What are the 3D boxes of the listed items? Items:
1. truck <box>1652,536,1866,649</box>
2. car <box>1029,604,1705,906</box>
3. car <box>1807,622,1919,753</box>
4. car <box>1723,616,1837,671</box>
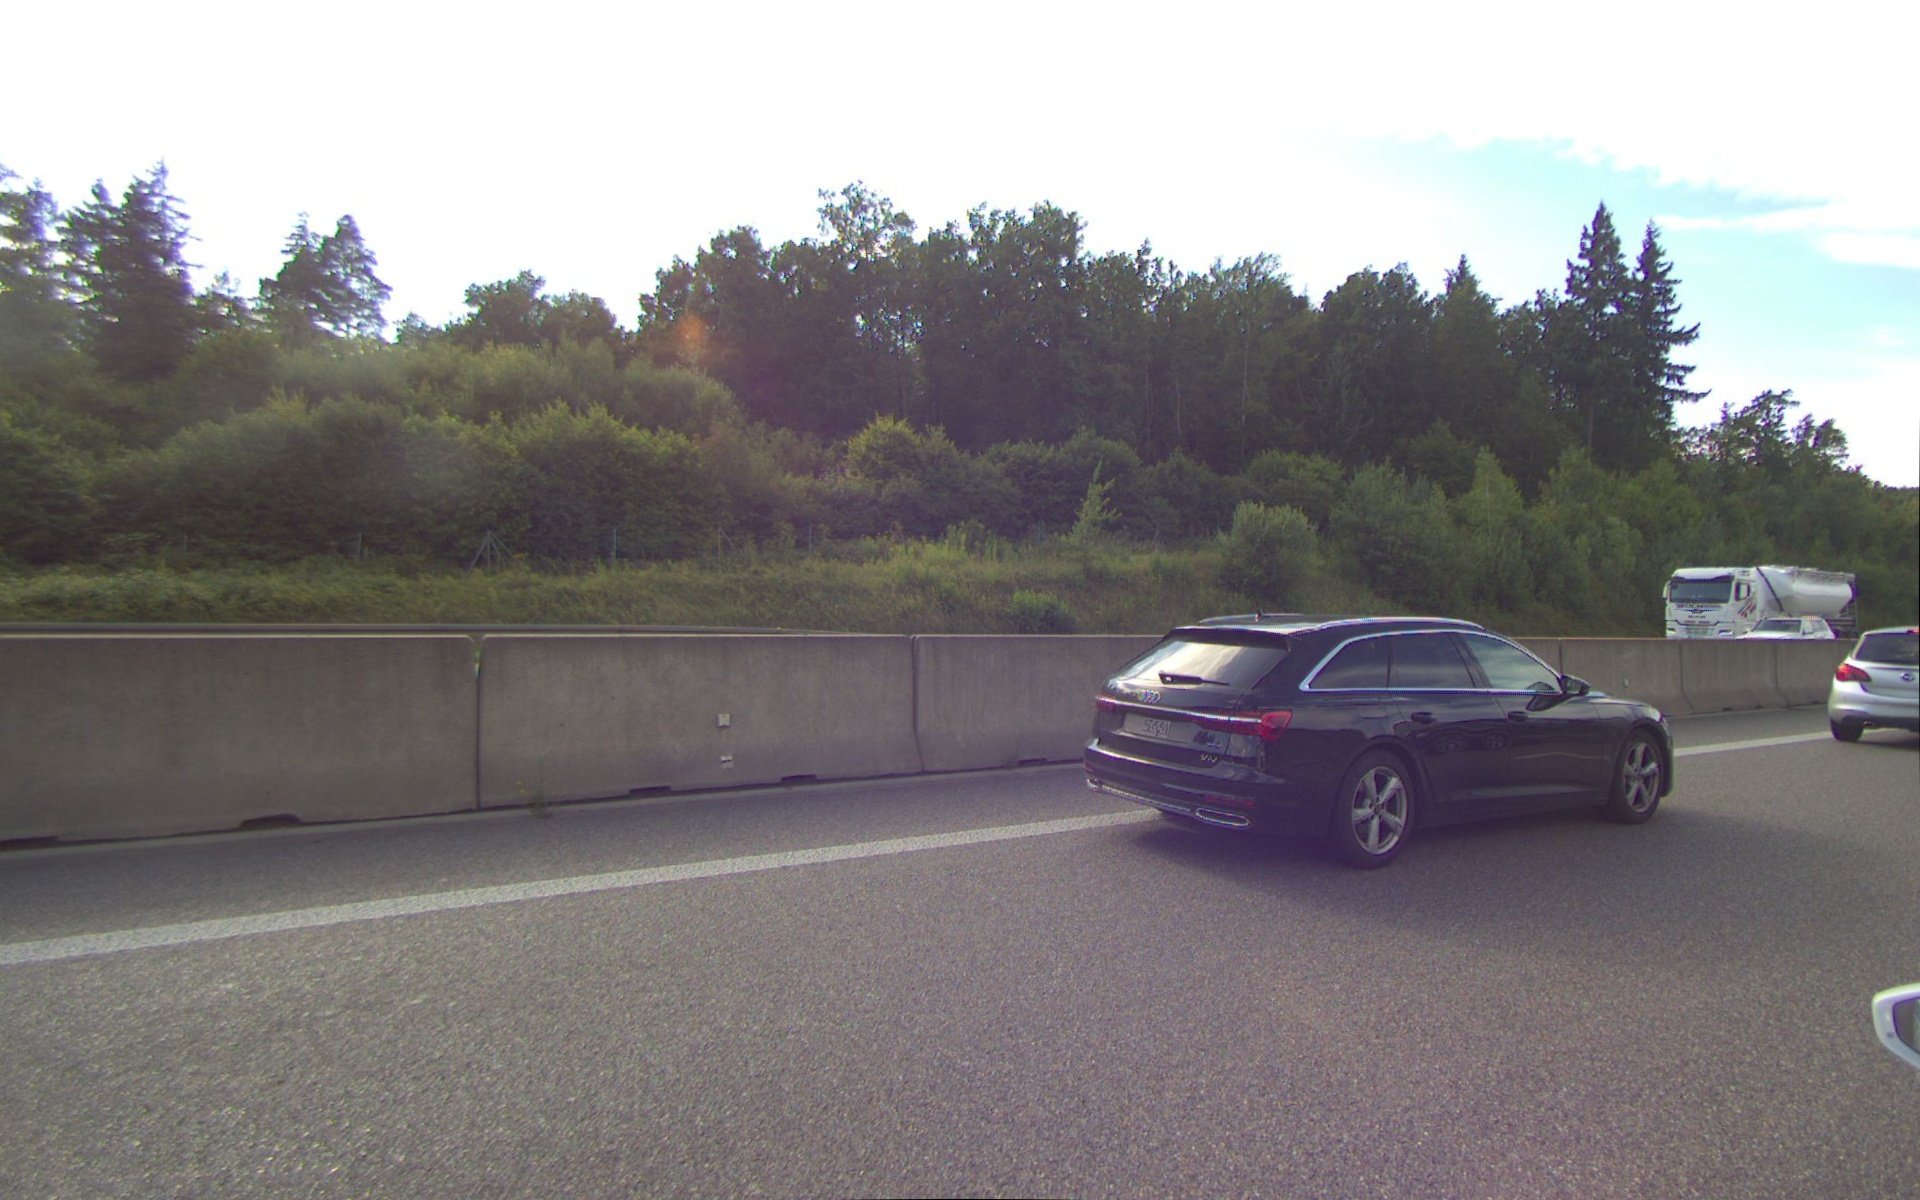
[{"bbox_3d":[35.594,-0.137,44.419,13.756,4.412,2.916,2,0,-32],"label":"truck"},{"bbox_3d":[3.000,0.829,7.082,4.794,1.491,1.873,1,0,-30],"label":"car"},{"bbox_3d":[12.634,1.044,12.727,3.994,1.485,1.738,1,-1,-31],"label":"car"},{"bbox_3d":[29.502,1.531,36.123,4.275,1.834,1.842,1,0,-31],"label":"car"}]
